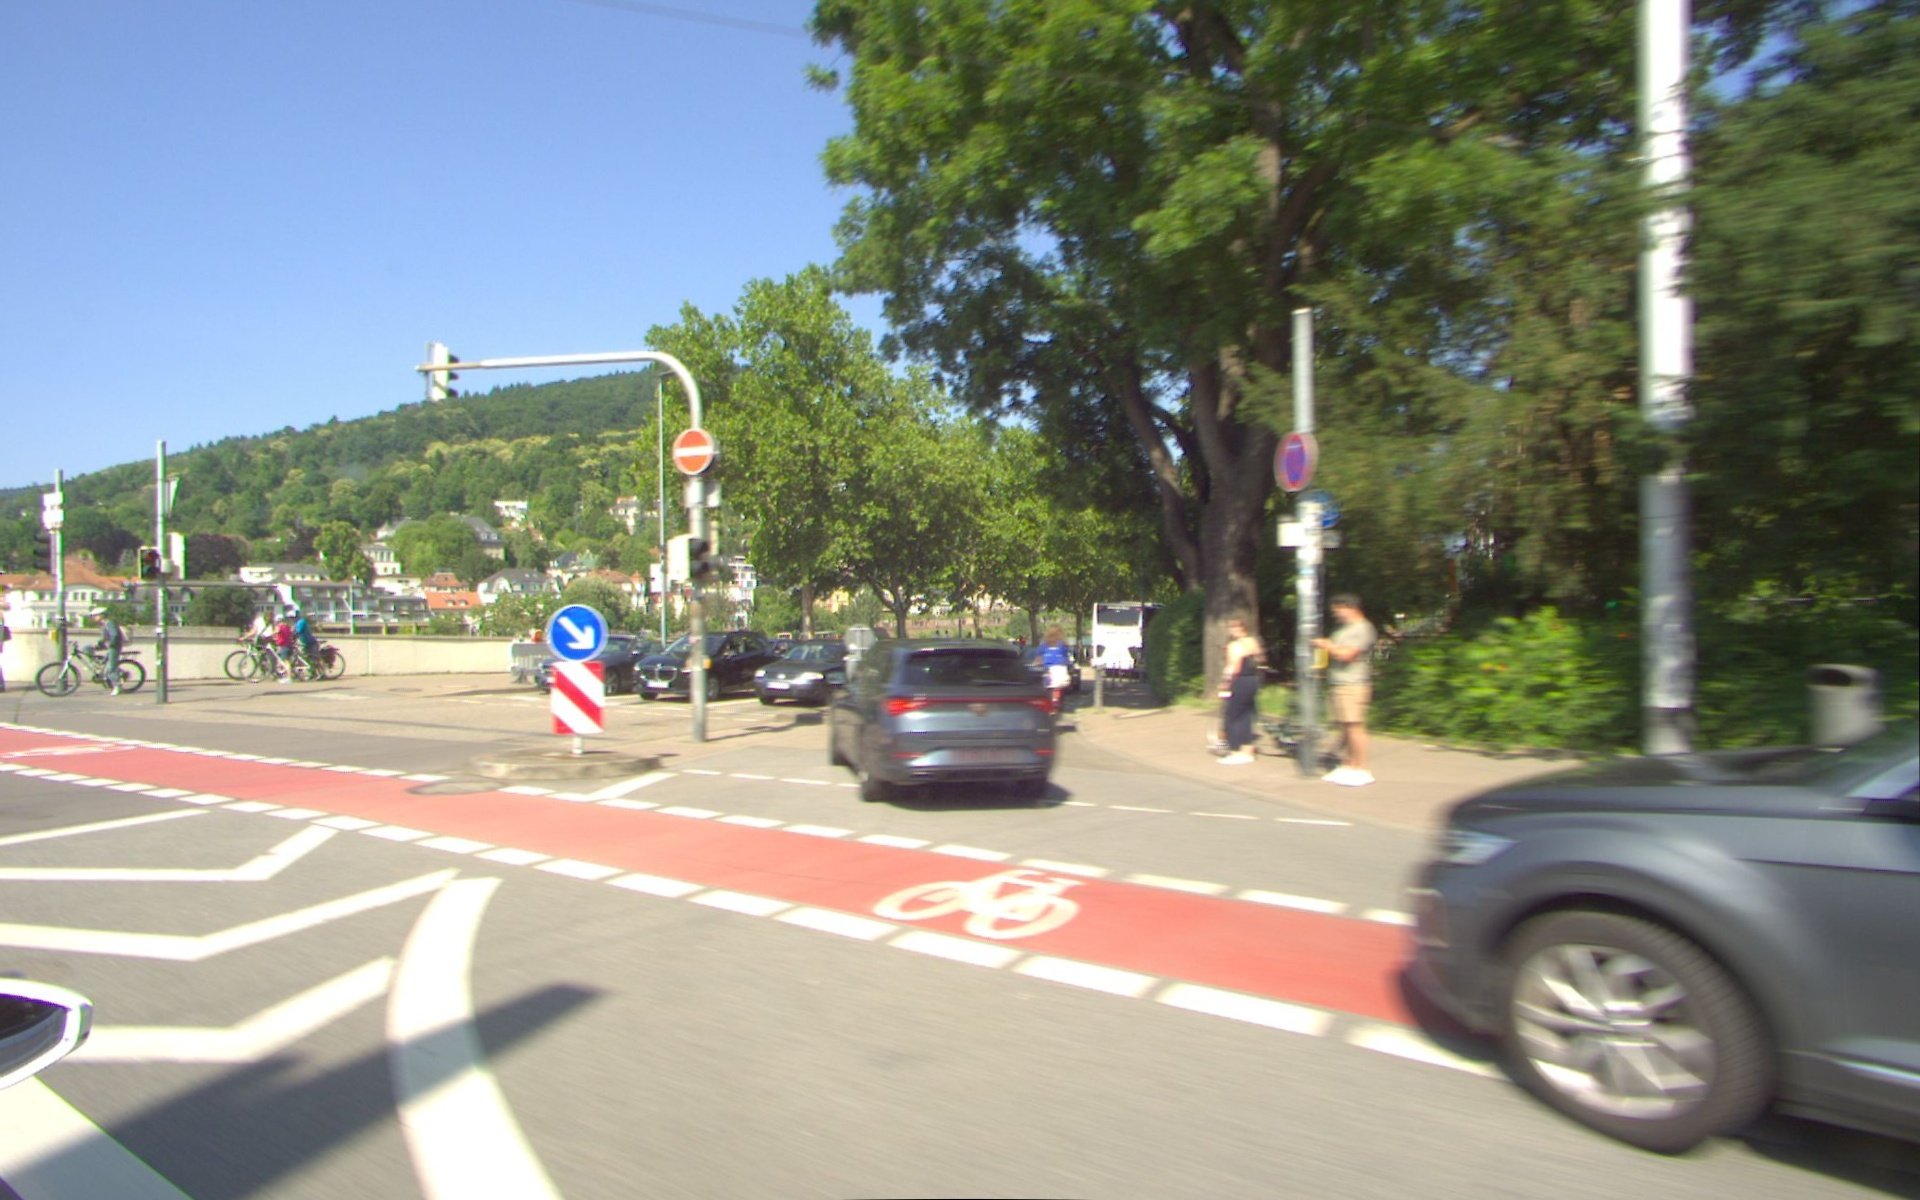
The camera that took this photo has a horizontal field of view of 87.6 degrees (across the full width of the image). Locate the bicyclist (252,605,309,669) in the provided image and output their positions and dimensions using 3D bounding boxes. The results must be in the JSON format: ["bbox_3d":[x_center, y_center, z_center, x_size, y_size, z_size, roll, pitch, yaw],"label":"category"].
[{"bbox_3d":[-16.335,0.890,24.061,1.070,1.493,0.756,2,-1,-37],"label":"bicyclist"}]

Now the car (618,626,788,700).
[{"bbox_3d":[-5.898,1.407,23.582,1.814,1.525,4.482,0,-2,17],"label":"car"}]

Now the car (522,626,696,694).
[{"bbox_3d":[-8.602,1.410,25.025,1.814,1.414,4.479,0,0,17],"label":"car"}]

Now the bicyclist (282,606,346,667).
[{"bbox_3d":[-16.216,0.914,25.138,0.915,1.493,1.077,0,-1,35],"label":"bicyclist"}]

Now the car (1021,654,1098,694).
[{"bbox_3d":[3.486,2.480,34.308,1.814,1.172,4.482,1,-2,17],"label":"car"}]

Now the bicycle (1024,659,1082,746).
[{"bbox_3d":[1.527,1.611,16.164,0.704,1.241,2.003,1,-2,12],"label":"bicycle"}]

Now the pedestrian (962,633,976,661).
[{"bbox_3d":[0.579,3.014,64.745,0.665,1.798,0.741,1,-1,21],"label":"pedestrian"}]

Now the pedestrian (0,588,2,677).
[{"bbox_3d":[-19.570,0.642,19.964,0.568,1.783,0.533,0,0,30],"label":"pedestrian"}]

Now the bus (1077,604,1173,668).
[{"bbox_3d":[8.296,1.704,49.321,3.055,2.819,8.836,-1,-1,20],"label":"bus"}]

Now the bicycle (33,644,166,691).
[{"bbox_3d":[-16.978,1.318,19.810,0.557,0.837,1.936,0,-1,31],"label":"bicycle"}]

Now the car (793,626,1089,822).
[{"bbox_3d":[-0.454,1.030,10.065,1.964,1.510,4.279,1,-1,-15],"label":"car"}]

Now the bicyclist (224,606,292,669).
[{"bbox_3d":[-17.219,0.912,24.576,0.915,1.493,1.078,0,-1,33],"label":"bicyclist"}]

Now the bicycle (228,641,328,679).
[{"bbox_3d":[-16.342,1.426,24.032,1.924,0.864,0.560,2,-2,-40],"label":"bicycle"}]

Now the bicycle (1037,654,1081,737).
[{"bbox_3d":[1.593,1.516,16.378,0.605,1.179,2.250,0,-1,3],"label":"bicycle"}]

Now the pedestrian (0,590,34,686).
[{"bbox_3d":[-18.957,0.738,19.809,0.635,1.880,0.773,0,0,30],"label":"pedestrian"}]

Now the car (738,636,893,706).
[{"bbox_3d":[-3.166,1.546,22.886,1.848,1.375,4.312,0,-2,17],"label":"car"}]

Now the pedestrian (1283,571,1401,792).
[{"bbox_3d":[3.733,0.759,9.805,1.042,2.040,0.775,0,1,22],"label":"pedestrian"}]

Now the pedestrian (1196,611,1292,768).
[{"bbox_3d":[3.302,1.026,11.632,0.878,1.732,0.674,-4,-1,24],"label":"pedestrian"}]

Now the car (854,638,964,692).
[{"bbox_3d":[-1.392,1.843,29.383,1.814,1.397,4.482,0,-2,17],"label":"car"}]

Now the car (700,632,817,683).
[{"bbox_3d":[-6.316,1.778,31.964,1.813,1.466,4.482,1,-2,16],"label":"car"}]

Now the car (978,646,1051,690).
[{"bbox_3d":[2.167,2.565,38.449,1.814,1.461,4.482,0,-2,17],"label":"car"}]

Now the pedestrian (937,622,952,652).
[{"bbox_3d":[-0.940,2.216,60.685,0.665,1.798,0.741,1,-1,21],"label":"pedestrian"}]

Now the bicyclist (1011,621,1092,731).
[{"bbox_3d":[1.508,1.203,16.286,1.150,1.699,1.088,1,-1,14],"label":"bicyclist"}]

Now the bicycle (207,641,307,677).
[{"bbox_3d":[-17.256,1.426,24.634,0.557,0.837,1.936,0,-2,31],"label":"bicycle"}]

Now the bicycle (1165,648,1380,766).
[{"bbox_3d":[3.640,1.242,11.846,2.252,1.221,0.795,-5,-1,44],"label":"bicycle"}]

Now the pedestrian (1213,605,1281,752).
[{"bbox_3d":[3.719,1.007,13.051,0.689,1.803,1.059,-4,-2,13],"label":"pedestrian"}]

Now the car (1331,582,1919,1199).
[{"bbox_3d":[3.240,0.722,2.472,1.917,1.536,3.953,-1,0,-44],"label":"car"}]

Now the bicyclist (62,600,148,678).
[{"bbox_3d":[-16.966,0.763,19.878,0.788,1.493,1.078,0,-1,31],"label":"bicyclist"}]

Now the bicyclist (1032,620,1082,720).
[{"bbox_3d":[1.579,1.128,16.434,0.762,1.574,1.059,0,0,3],"label":"bicyclist"}]
